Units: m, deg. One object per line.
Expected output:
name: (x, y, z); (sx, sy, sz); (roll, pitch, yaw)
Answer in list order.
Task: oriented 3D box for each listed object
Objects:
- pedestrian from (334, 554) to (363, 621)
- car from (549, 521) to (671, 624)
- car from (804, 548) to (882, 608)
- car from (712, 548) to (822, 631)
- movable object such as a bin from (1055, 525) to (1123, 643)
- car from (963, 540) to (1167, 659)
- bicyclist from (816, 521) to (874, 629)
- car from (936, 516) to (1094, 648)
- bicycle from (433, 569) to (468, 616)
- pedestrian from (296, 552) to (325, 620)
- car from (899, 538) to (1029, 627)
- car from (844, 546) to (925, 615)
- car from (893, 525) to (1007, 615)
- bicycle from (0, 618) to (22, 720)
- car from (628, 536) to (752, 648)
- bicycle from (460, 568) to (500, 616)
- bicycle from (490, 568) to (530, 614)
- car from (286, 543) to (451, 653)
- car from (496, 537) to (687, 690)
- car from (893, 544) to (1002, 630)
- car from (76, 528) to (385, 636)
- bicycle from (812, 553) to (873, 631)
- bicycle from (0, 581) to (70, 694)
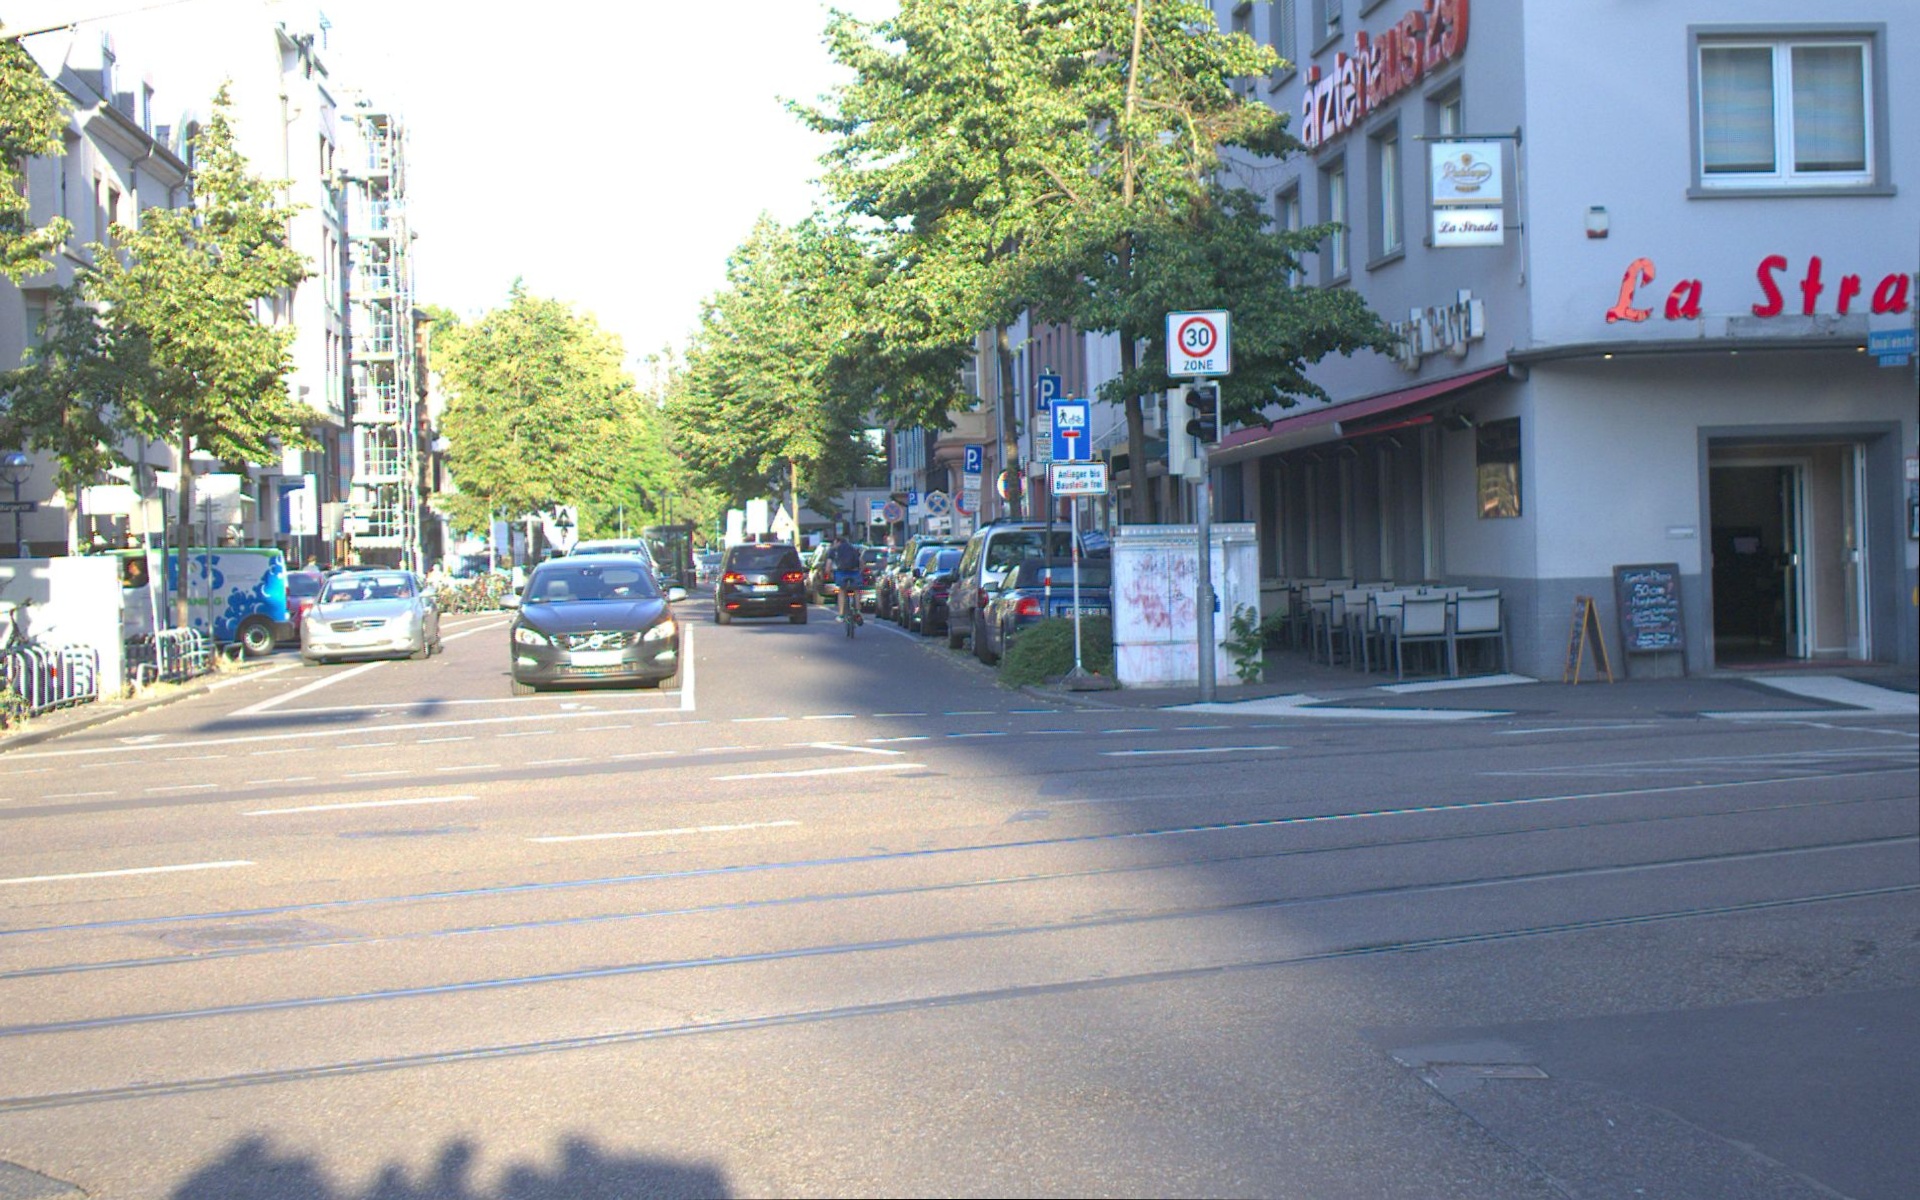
pedestrian: (-15.924, -0.324, 89.453); (0.716, 1.734, 0.739); (0, 0, -12)
car: (-5.994, -0.450, 58.964); (1.940, 1.639, 4.739); (-2, 0, -6)
car: (-3.372, -0.620, 98.252); (1.824, 1.689, 4.370); (0, 0, -7)
car: (-3.836, -0.205, 68.988); (1.993, 1.596, 4.509); (0, 0, 0)
movable object such as a bin: (1.955, -0.246, 52.228); (0.834, 1.768, 1.206); (0, 0, -8)
car: (1.218, -0.029, 41.819); (1.936, 1.372, 4.183); (0, 1, -6)
bicyclist: (-1.856, -0.401, 55.354); (0.780, 1.690, 1.007); (-2, 0, -7)
car: (0.734, -0.274, 48.246); (1.654, 1.772, 4.013); (0, 1, -7)
bicycle: (-15.113, -0.209, 101.963); (0.780, 1.368, 3.143); (0, 0, -13)
pedestrian: (-16.882, -0.363, 89.311); (0.716, 1.761, 0.694); (0, 0, -12)
car: (0.022, -0.312, 57.017); (1.752, 1.415, 4.510); (0, 1, -5)
car: (-1.893, -0.462, 84.947); (1.811, 1.662, 4.206); (0, 0, -4)
car: (-0.243, -0.580, 69.745); (1.883, 1.748, 5.059); (0, 0, -5)
bicycle: (-10.260, 0.677, 33.688); (2.009, 0.988, 0.491); (0, 0, -8)
car: (-4.023, -0.116, 51.598); (1.723, 1.544, 4.465); (-2, 0, -4)
bicycle: (-14.277, -0.225, 102.160); (0.892, 1.391, 3.167); (-1, 0, -13)
bicycle: (-13.400, -0.268, 102.358); (0.844, 1.346, 3.188); (-1, 0, -13)
car: (-9.114, -0.026, 53.291); (1.993, 1.506, 4.510); (-4, 0, -4)
car: (-4.133, 0.100, 38.480); (1.957, 1.542, 4.511); (-1, 2, -6)
car: (-0.265, -0.232, 63.673); (1.811, 1.522, 4.994); (0, 0, -2)
car: (-12.692, -0.302, 59.929); (4.865, 1.821, 2.000); (0, 0, -34)
bicycle: (-1.898, -0.129, 55.437); (0.780, 1.200, 2.021); (-2, 0, -7)
bicycle: (-10.693, 0.408, 37.182); (2.009, 1.214, 0.491); (0, 0, -4)
